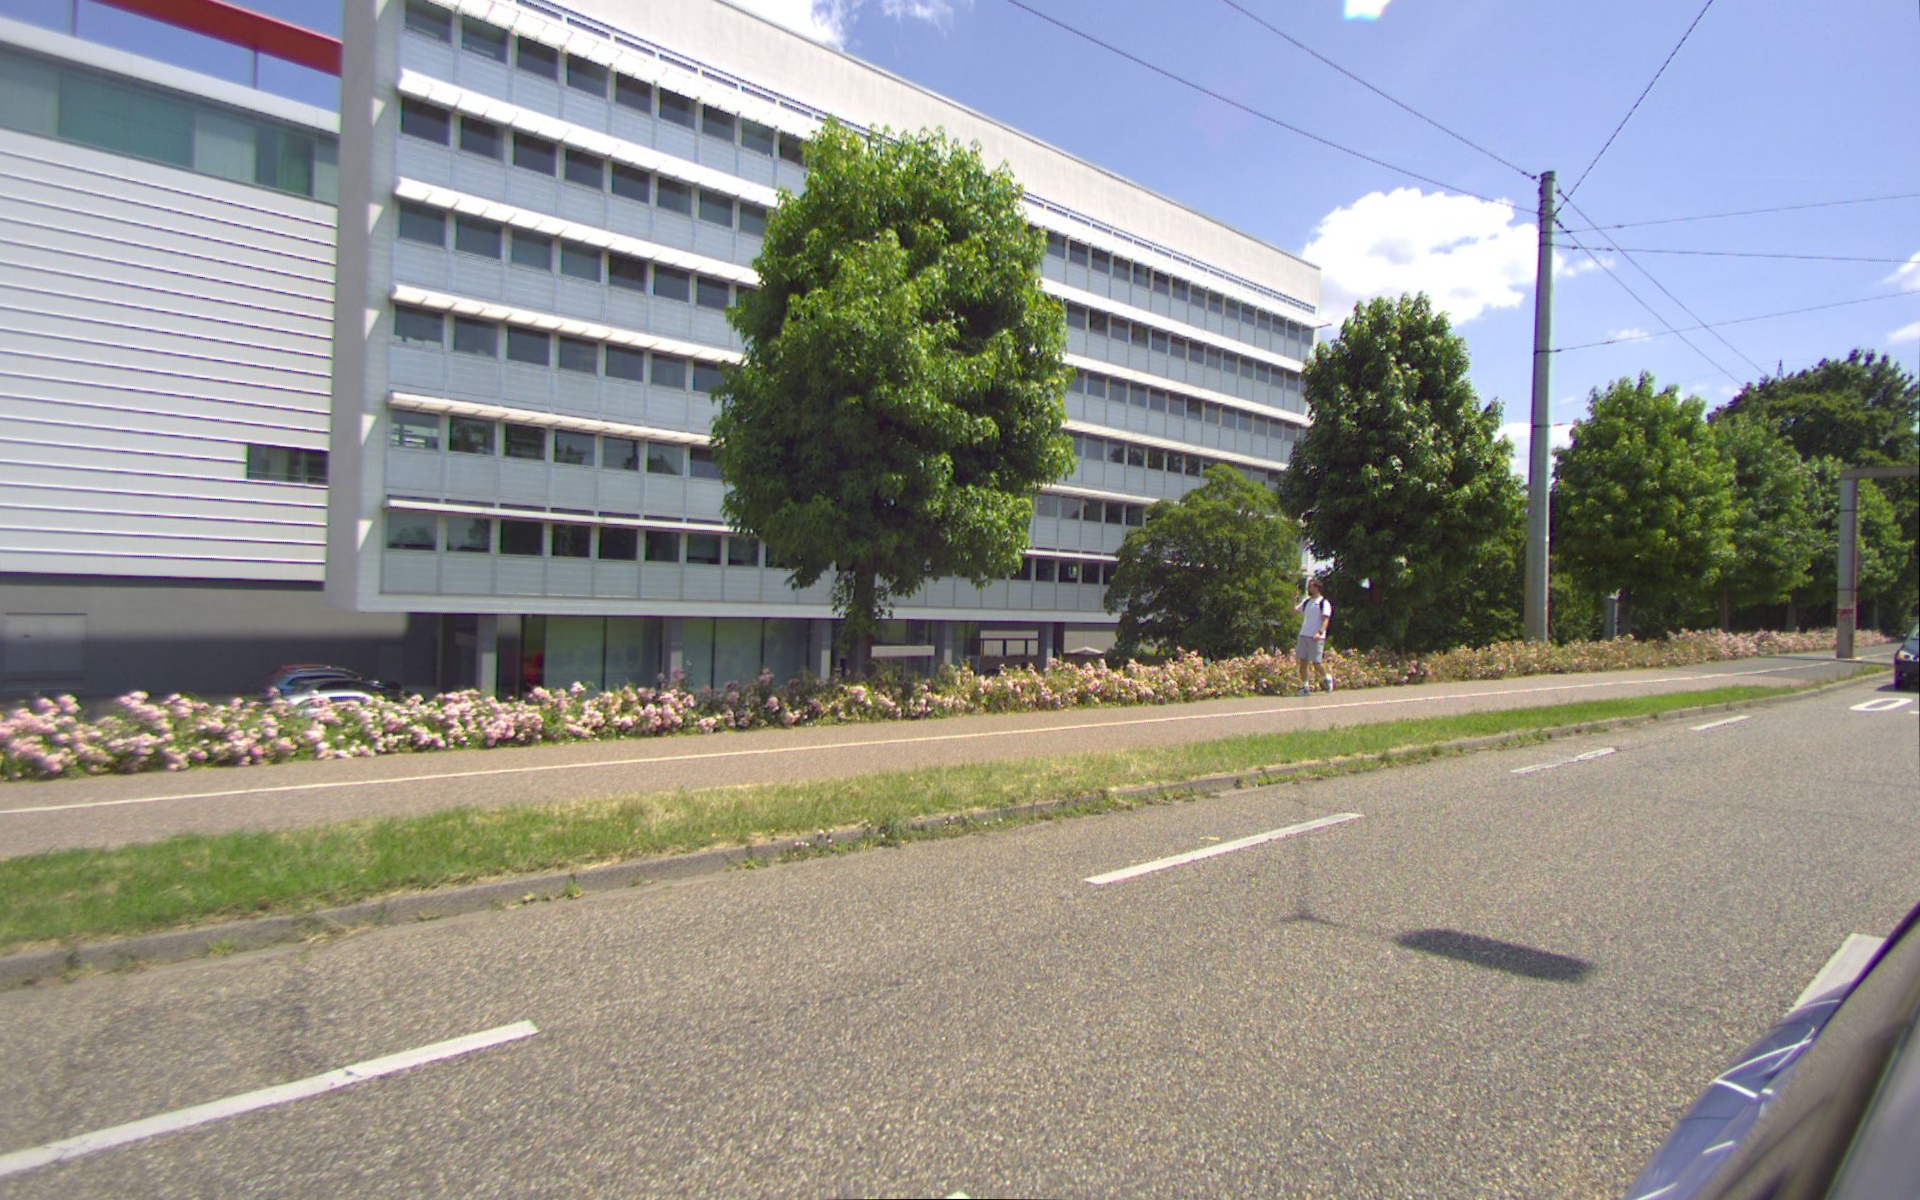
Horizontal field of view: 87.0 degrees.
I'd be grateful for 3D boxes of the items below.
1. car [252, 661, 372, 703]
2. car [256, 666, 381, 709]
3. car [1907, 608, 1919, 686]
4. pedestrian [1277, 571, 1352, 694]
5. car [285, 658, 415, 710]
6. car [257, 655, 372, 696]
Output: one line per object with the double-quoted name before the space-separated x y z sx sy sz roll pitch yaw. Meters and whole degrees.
"car" -26.260 3.280 41.076 3.930 1.403 1.646 0 -1 -42
"car" -24.937 3.368 39.421 3.930 1.338 1.607 0 -1 -42
"car" 20.944 0.941 20.758 4.027 1.546 1.764 1 -2 -41
"pedestrian" 5.624 0.497 16.053 0.914 1.872 0.758 1 -1 -39
"car" -22.960 3.121 38.163 3.930 1.632 1.996 0 -1 -41
"car" -27.764 3.216 43.599 3.930 1.465 1.996 0 -1 -41
